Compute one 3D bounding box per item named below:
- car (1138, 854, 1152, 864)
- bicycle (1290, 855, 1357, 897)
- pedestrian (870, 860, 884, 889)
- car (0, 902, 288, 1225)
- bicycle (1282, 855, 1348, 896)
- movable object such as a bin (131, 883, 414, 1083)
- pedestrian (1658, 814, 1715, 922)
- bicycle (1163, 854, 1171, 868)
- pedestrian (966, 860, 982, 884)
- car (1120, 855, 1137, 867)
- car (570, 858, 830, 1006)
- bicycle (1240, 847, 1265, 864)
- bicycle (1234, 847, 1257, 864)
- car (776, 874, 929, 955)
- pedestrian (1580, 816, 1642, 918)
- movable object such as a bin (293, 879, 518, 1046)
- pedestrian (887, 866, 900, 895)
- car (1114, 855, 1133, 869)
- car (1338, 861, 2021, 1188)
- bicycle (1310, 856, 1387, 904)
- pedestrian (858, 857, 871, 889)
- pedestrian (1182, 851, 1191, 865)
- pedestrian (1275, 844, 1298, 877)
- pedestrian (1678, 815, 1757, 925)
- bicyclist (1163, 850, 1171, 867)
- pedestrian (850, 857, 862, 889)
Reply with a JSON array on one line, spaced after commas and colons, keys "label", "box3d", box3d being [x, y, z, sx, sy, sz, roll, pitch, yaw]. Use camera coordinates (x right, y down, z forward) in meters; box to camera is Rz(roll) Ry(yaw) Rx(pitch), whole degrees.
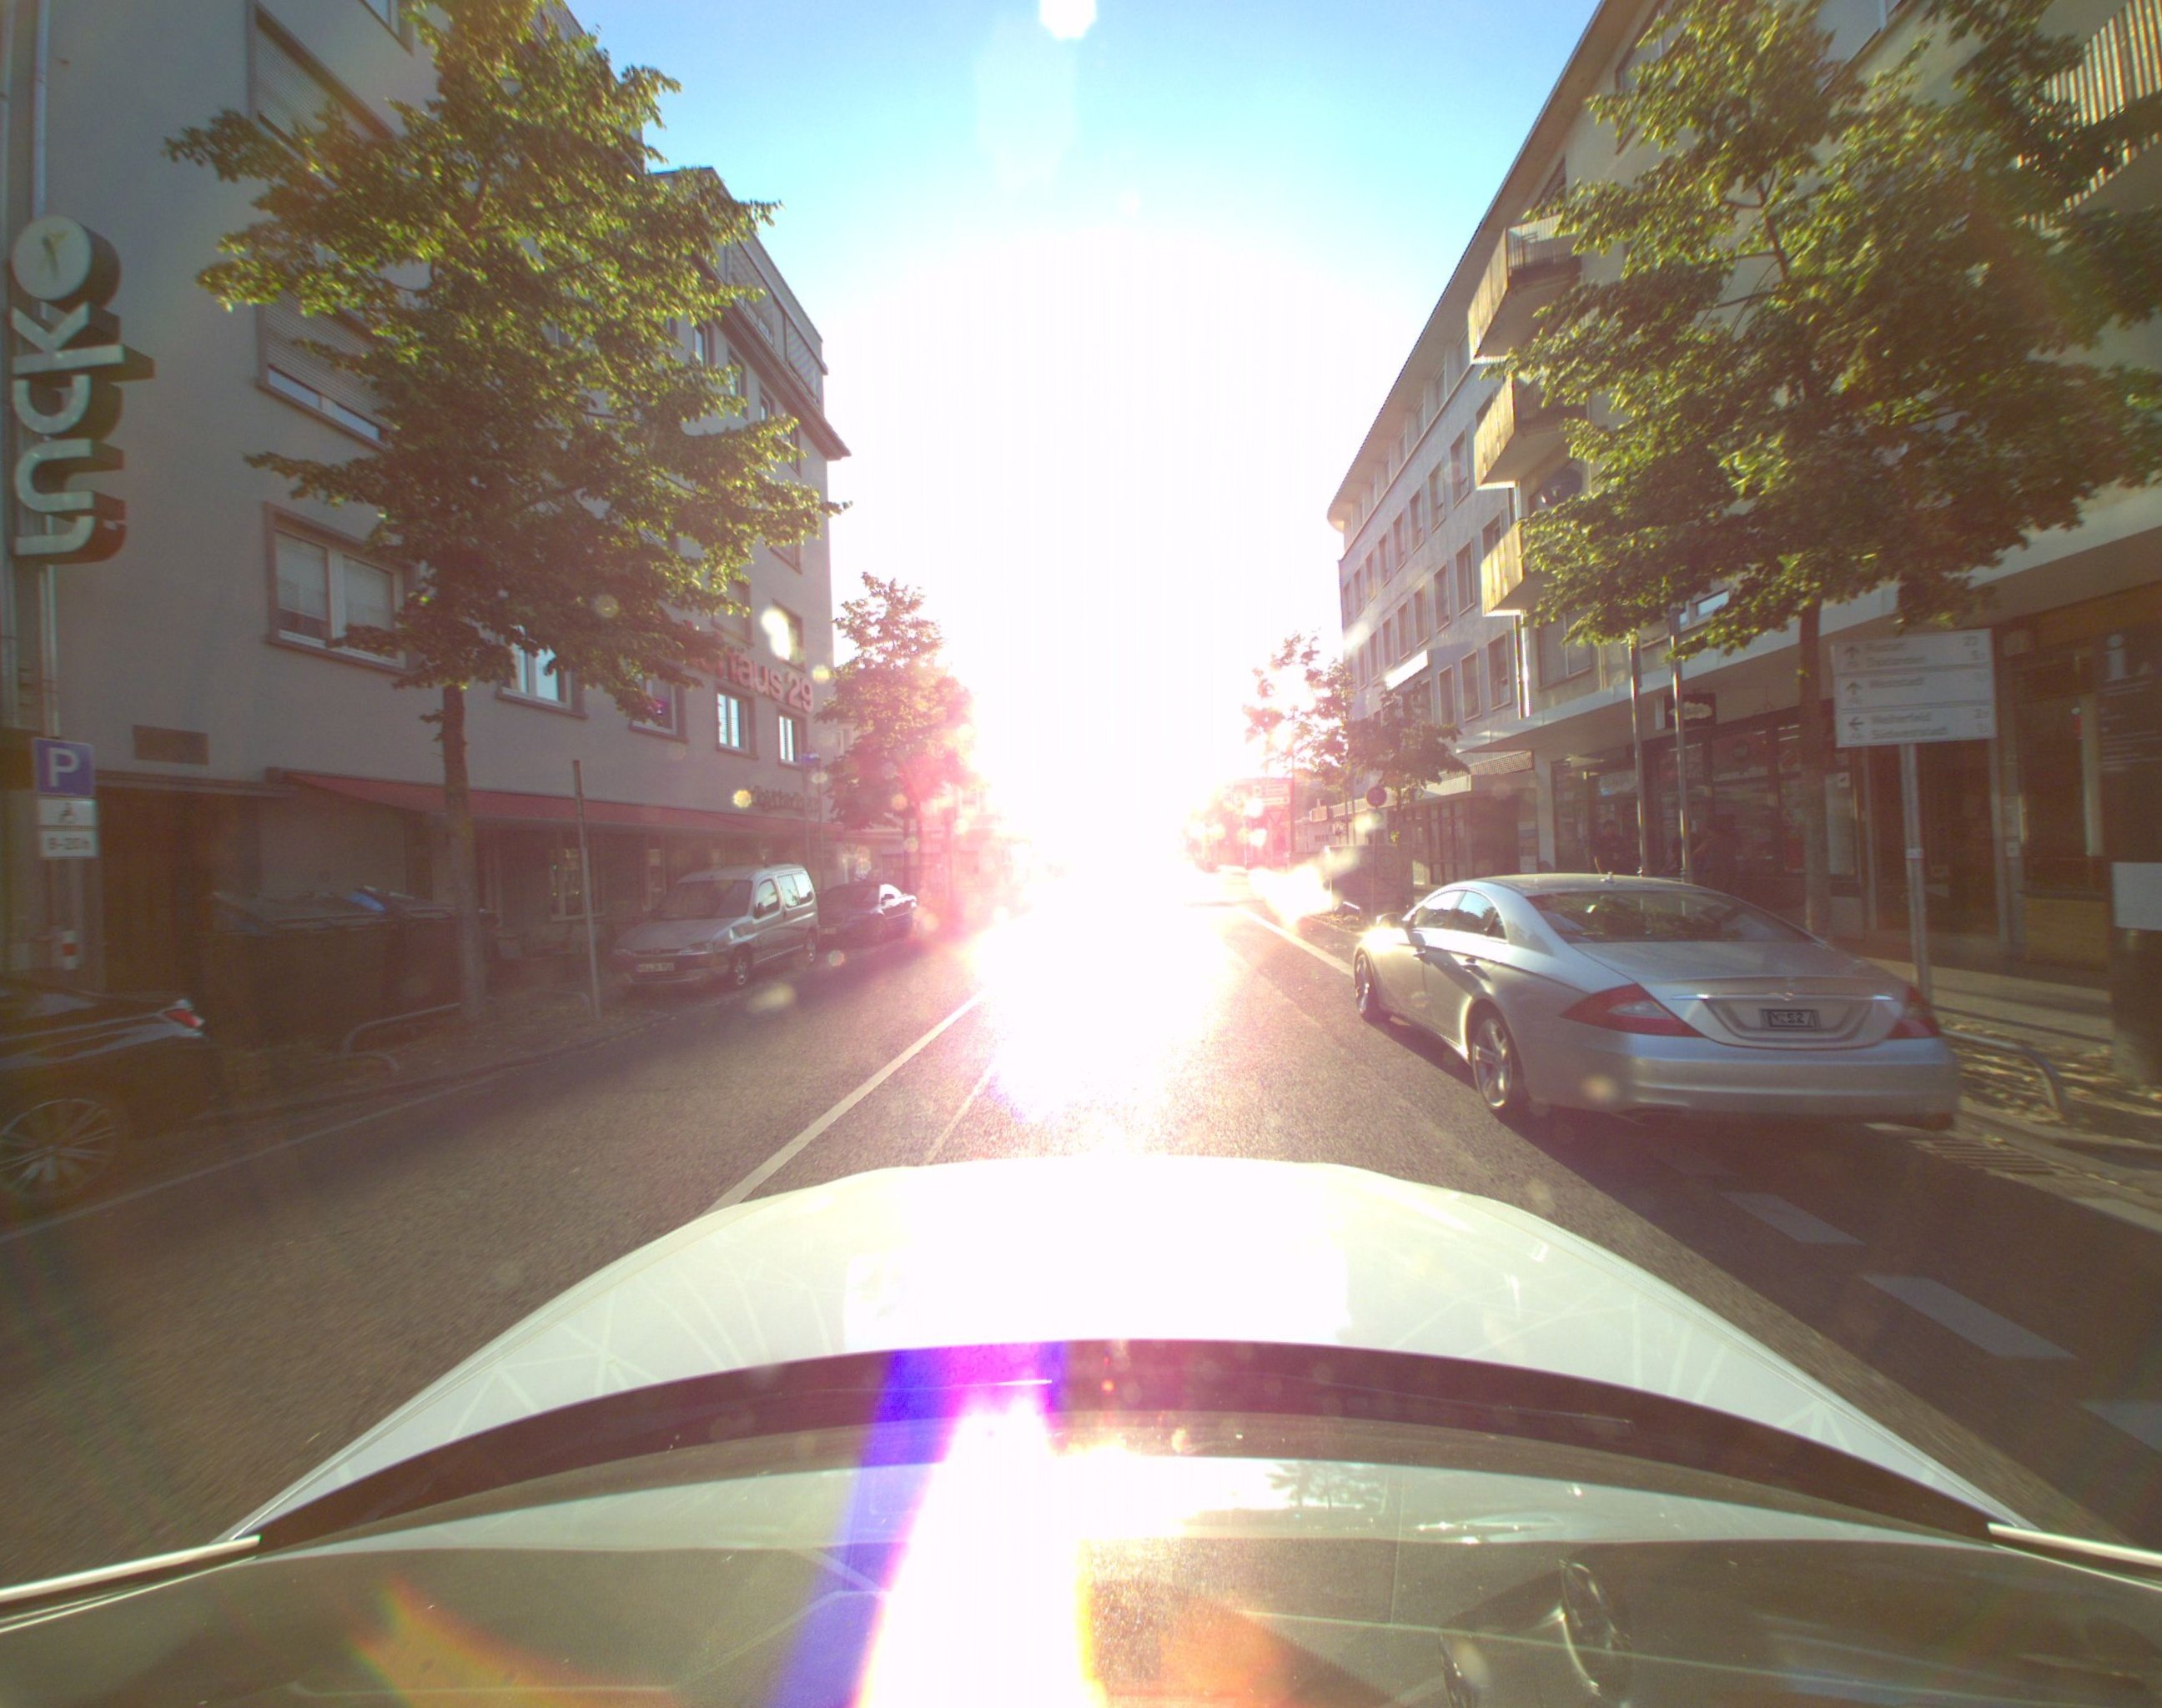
[{"label": "car", "box3d": [11.214, 0.879, 142.561, 2.293, 1.678, 5.540, -3, 0, 5]}, {"label": "bicycle", "box3d": [7.556, 0.690, 25.458, 1.903, 1.203, 0.471, -3, 0, 6]}, {"label": "pedestrian", "box3d": [-12.576, 1.262, 50.226, 0.699, 1.745, 0.636, -3, 0, -17]}, {"label": "car", "box3d": [-6.396, 1.137, 3.115, 1.906, 1.511, 4.644, -4, 0, 4]}, {"label": "bicycle", "box3d": [7.450, 0.687, 25.961, 1.903, 1.203, 0.471, -3, 0, 6]}, {"label": "movable object such as a bin", "box3d": [-7.583, 1.143, 7.756, 1.275, 1.673, 1.370, 1, 0, 2]}, {"label": "pedestrian", "box3d": [10.245, 0.227, 13.785, 0.581, 1.782, 0.525, -1, 0, -15]}, {"label": "bicycle", "box3d": [8.910, 0.746, 84.317, 0.675, 1.402, 2.234, -3, 0, 6]}, {"label": "pedestrian", "box3d": [-7.101, 1.175, 53.807, 0.869, 1.548, 0.695, -3, 0, -17]}, {"label": "car", "box3d": [7.004, 1.023, 119.759, 2.293, 1.678, 5.540, -3, 0, 5]}, {"label": "car", "box3d": [-5.600, 1.028, 12.664, 1.908, 1.787, 4.149, -4, 0, 1]}, {"label": "bicycle", "box3d": [16.453, 0.176, 77.968, 2.211, 1.522, 0.682, -3, 0, 5]}, {"label": "bicycle", "box3d": [16.380, 0.146, 81.131, 2.209, 1.522, 0.683, -3, 0, 9]}, {"label": "car", "box3d": [-5.007, 1.272, 18.591, 1.906, 1.386, 4.387, -4, 0, 4]}, {"label": "pedestrian", "box3d": [9.551, 0.228, 14.694, 0.704, 1.807, 0.651, -1, 0, 4]}, {"label": "movable object such as a bin", "box3d": [-7.522, 1.147, 9.189, 1.276, 1.673, 1.441, 1, 0, 2]}, {"label": "pedestrian", "box3d": [-11.618, 1.624, 50.419, 0.647, 1.778, 0.668, -3, 0, -17]}, {"label": "car", "box3d": [5.895, 1.093, 112.218, 2.293, 1.678, 5.540, -3, 0, 5]}, {"label": "car", "box3d": [3.333, 0.774, 5.862, 1.793, 1.378, 4.556, -1, 0, 4]}, {"label": "bicycle", "box3d": [7.292, 0.692, 22.211, 1.910, 1.203, 0.469, -3, 0, -7]}, {"label": "pedestrian", "box3d": [-13.401, 1.184, 50.346, 0.531, 1.928, 0.633, -3, -1, -31]}, {"label": "pedestrian", "box3d": [13.937, 0.587, 107.592, 0.797, 1.786, 0.999, -5, -1, 19]}, {"label": "pedestrian", "box3d": [11.246, 0.353, 44.564, 0.796, 1.726, 1.000, -5, -2, 32]}, {"label": "pedestrian", "box3d": [9.918, 0.241, 12.708, 0.639, 1.660, 0.778, -1, 0, 5]}, {"label": "bicyclist", "box3d": [8.892, 0.429, 84.292, 0.675, 1.707, 0.670, -3, 0, 6]}, {"label": "pedestrian", "box3d": [-13.801, 1.190, 49.918, 0.498, 1.928, 0.570, -3, -1, -30]}]
